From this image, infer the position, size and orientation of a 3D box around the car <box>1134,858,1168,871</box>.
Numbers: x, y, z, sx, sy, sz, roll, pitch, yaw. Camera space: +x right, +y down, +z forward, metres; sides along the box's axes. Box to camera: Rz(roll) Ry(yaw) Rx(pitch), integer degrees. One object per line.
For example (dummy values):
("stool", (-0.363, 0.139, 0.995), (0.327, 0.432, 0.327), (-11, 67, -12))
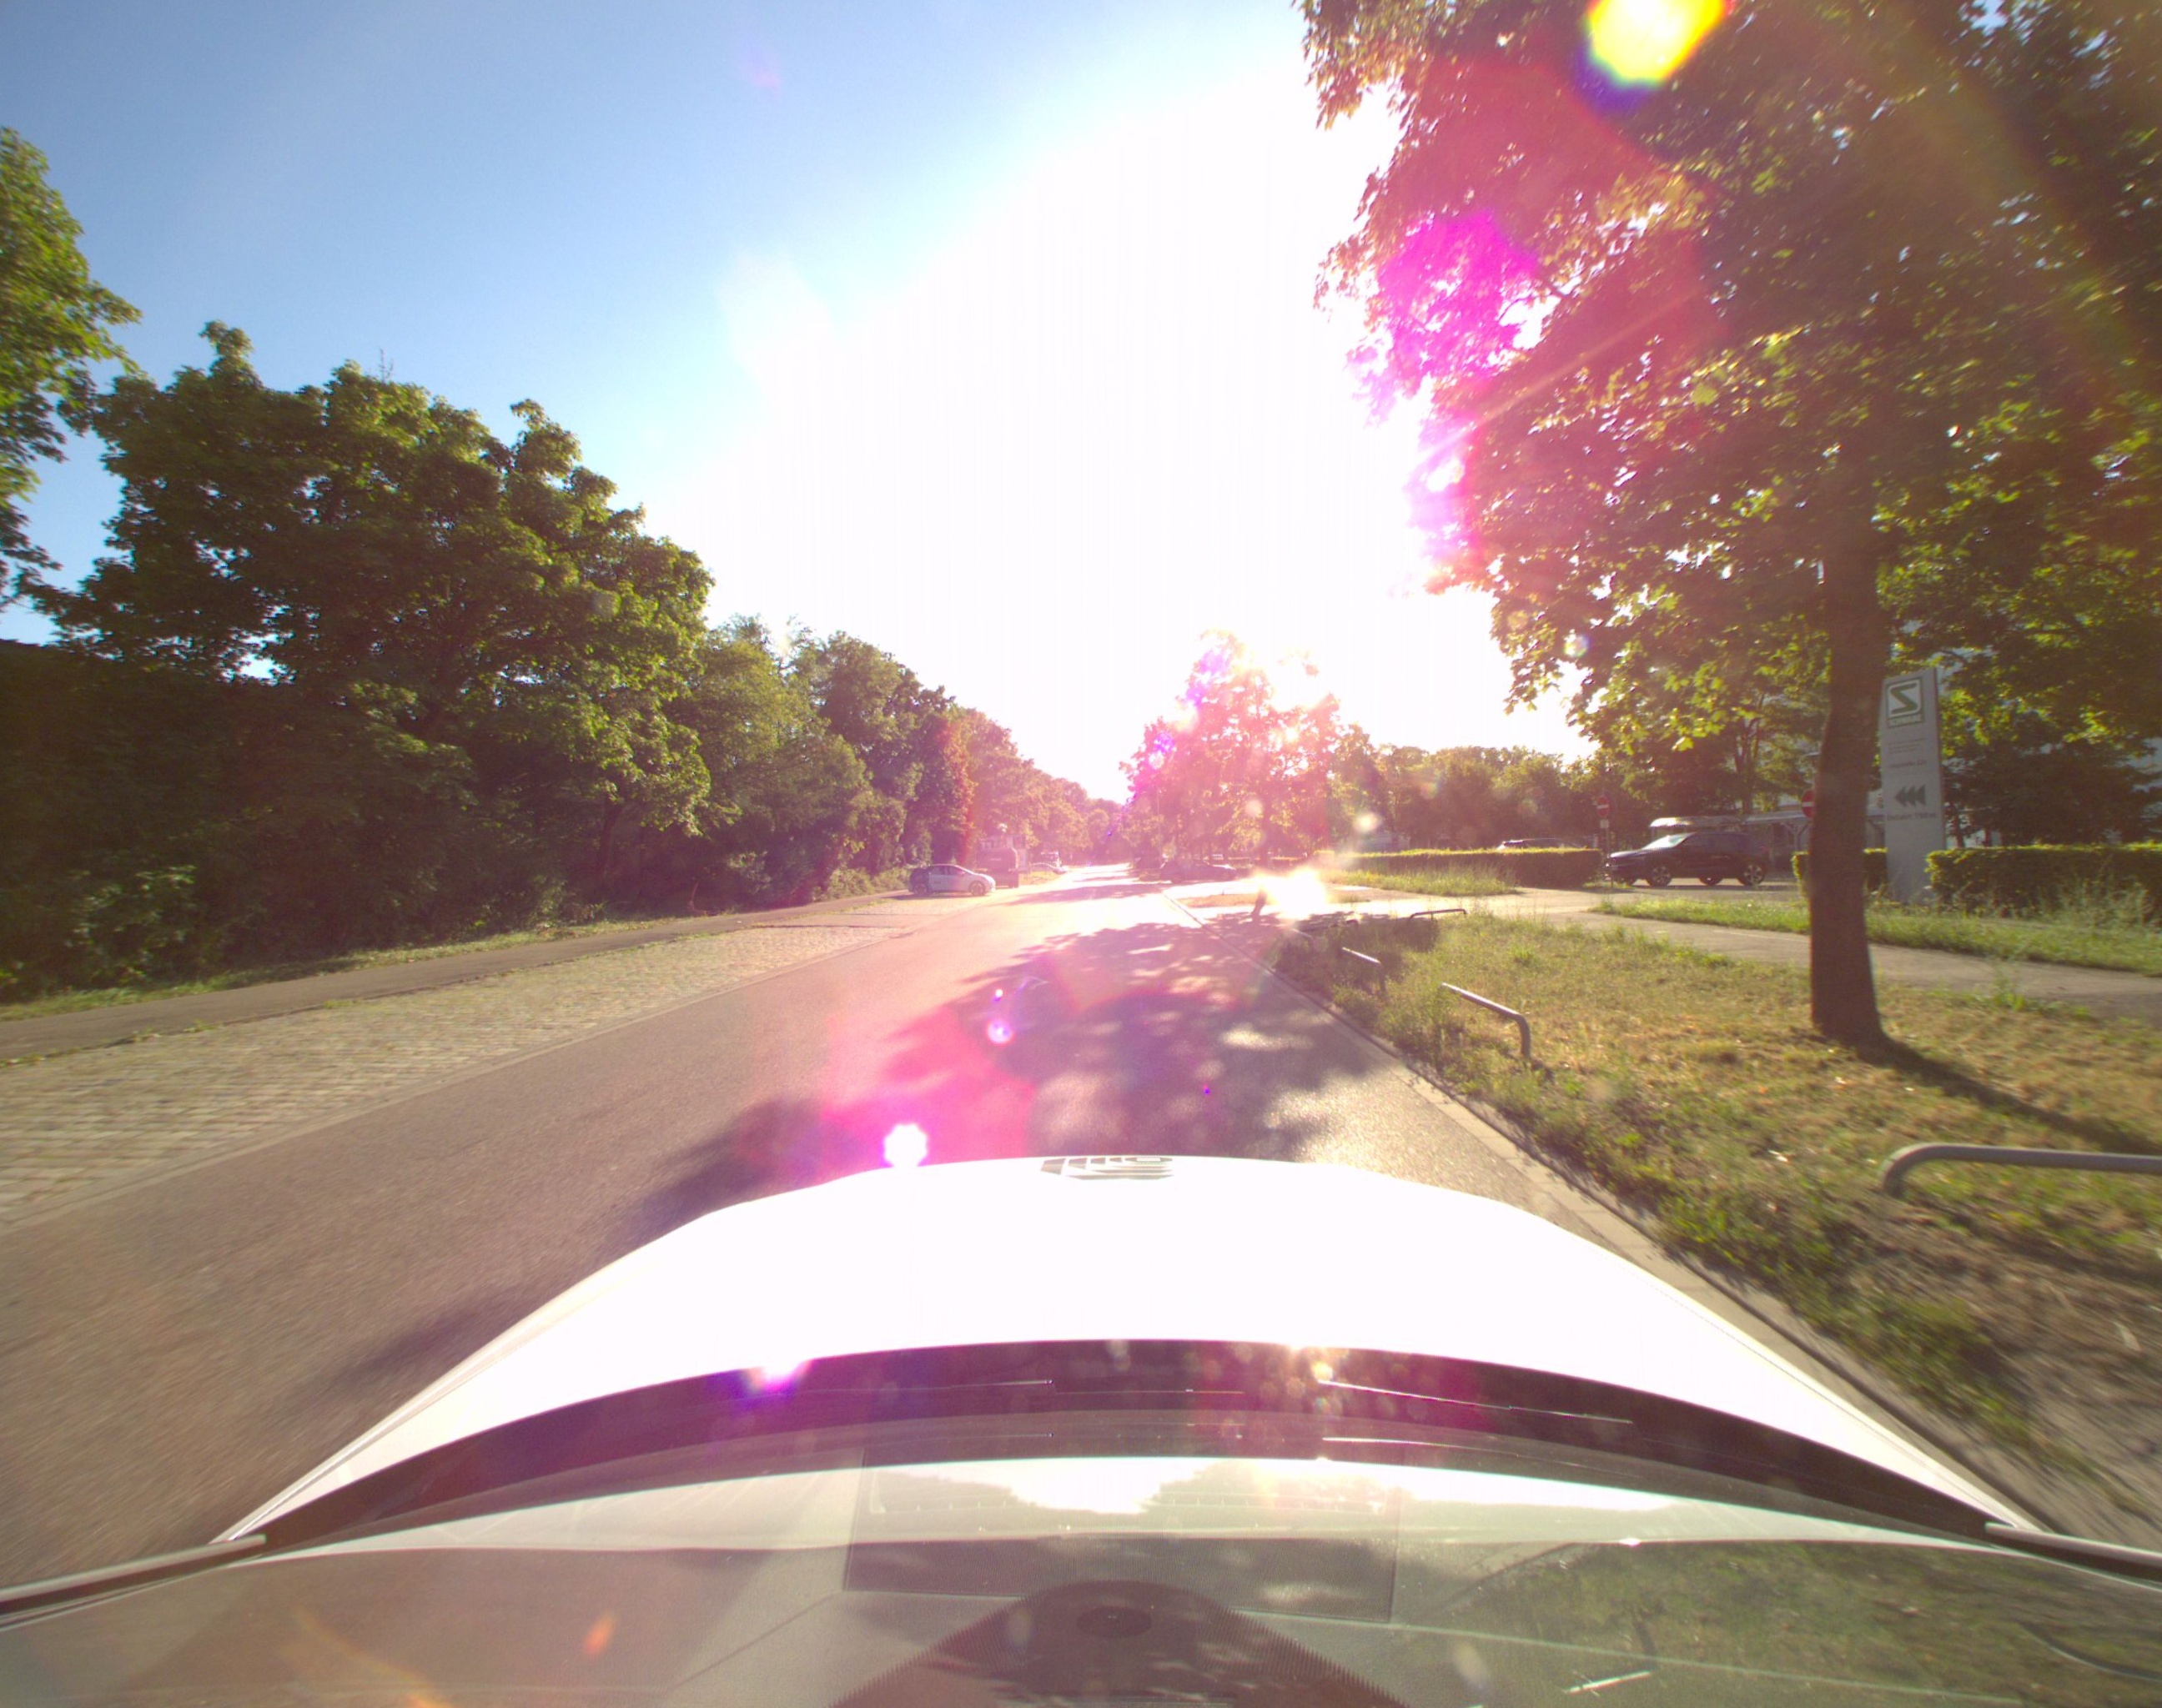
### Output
("car", (9.049, 1.370, 105.609), (4.343, 1.729, 2.000), (0, 0, 1))

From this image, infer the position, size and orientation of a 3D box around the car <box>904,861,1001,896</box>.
("car", (-6.279, 1.194, 40.195), (4.341, 1.547, 2.001), (1, 0, 2))

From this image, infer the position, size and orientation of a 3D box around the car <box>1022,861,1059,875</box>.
("car", (-4.774, 1.611, 95.736), (4.351, 1.479, 1.997), (-2, -1, -5))

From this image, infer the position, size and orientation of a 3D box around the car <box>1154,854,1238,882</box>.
("car", (6.892, 0.857, 49.332), (4.822, 1.479, 2.001), (-2, 0, 2))

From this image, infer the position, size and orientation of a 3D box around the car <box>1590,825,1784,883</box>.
("car", (18.422, 0.012, 24.935), (4.411, 1.706, 2.061), (0, 0, 2))

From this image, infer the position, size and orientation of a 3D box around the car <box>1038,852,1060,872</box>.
("car", (-4.096, 1.029, 102.534), (2.512, 2.386, 4.365), (-2, -1, -5))

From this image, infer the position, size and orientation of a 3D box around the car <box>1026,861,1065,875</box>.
("car", (-4.115, 1.571, 93.139), (4.351, 1.479, 1.997), (-2, -1, -5))

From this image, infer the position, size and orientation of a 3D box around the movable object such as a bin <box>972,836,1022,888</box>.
("movable object such as a bin", (-5.402, 0.513, 52.970), (2.831, 3.069, 4.922), (-2, -1, -2))

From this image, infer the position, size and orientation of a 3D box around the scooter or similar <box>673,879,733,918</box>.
("scooter or similar", (-11.861, 1.384, 25.593), (0.570, 1.145, 1.594), (-3, -1, 42))
